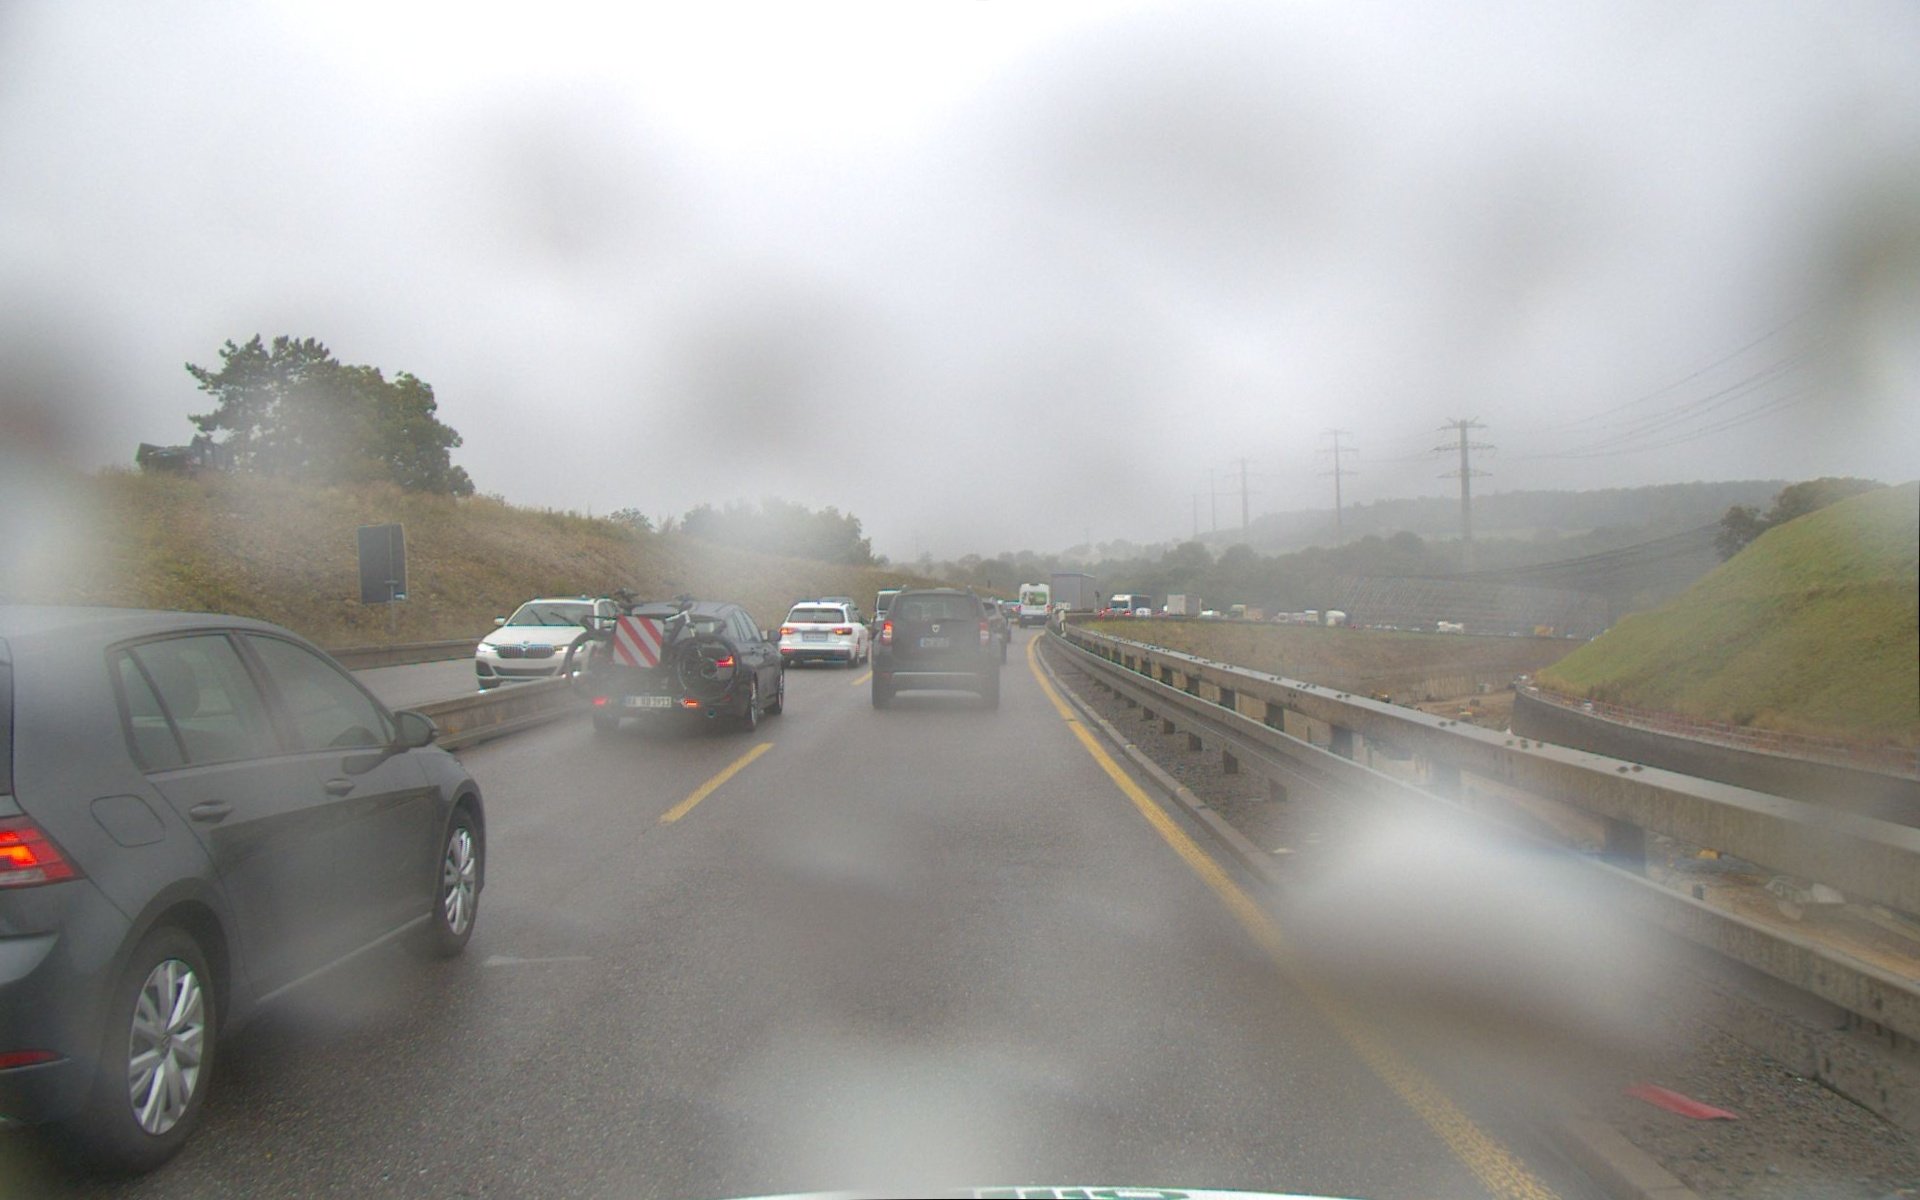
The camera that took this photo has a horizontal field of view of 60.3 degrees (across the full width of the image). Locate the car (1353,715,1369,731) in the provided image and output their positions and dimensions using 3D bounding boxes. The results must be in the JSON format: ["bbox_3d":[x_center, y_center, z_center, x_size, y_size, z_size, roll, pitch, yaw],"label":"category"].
[{"bbox_3d":[58.794,18.005,242.268,1.952,2.049,4.002,1,0,18],"label":"car"}]

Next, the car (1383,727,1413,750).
[{"bbox_3d":[45.251,14.308,170.917,2.315,2.049,4.002,2,0,5],"label":"car"}]

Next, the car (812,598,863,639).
[{"bbox_3d":[-5.146,0.755,70.128,1.774,1.621,4.901,-1,0,0],"label":"car"}]

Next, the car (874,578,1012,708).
[{"bbox_3d":[-0.159,0.575,23.450,1.767,1.675,3.777,0,0,2],"label":"car"}]

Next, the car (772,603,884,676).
[{"bbox_3d":[-2.906,0.848,37.411,1.828,1.486,4.550,2,0,4],"label":"car"}]

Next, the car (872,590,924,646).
[{"bbox_3d":[-2.199,0.624,59.407,1.626,1.913,4.020,2,0,1],"label":"car"}]

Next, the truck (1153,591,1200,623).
[{"bbox_3d":[30.627,0.963,232.919,4.617,4.222,15.694,1,0,14],"label":"truck"}]

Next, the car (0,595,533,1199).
[{"bbox_3d":[-2.773,0.776,5.474,1.581,1.532,4.368,-1,0,0],"label":"car"}]

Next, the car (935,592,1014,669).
[{"bbox_3d":[0.400,0.718,40.664,1.829,1.738,4.001,1,0,2],"label":"car"}]

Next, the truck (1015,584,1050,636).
[{"bbox_3d":[4.723,0.646,107.433,2.104,3.221,6.461,1,0,3],"label":"truck"}]

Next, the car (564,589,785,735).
[{"bbox_3d":[-3.172,0.655,19.116,1.791,1.502,3.777,0,0,1],"label":"car"}]

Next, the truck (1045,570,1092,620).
[{"bbox_3d":[8.904,-0.357,134.870,3.132,3.827,8.516,1,0,8],"label":"truck"}]

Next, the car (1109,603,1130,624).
[{"bbox_3d":[15.256,1.249,157.745,1.737,1.949,4.003,1,0,8],"label":"car"}]

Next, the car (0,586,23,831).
[{"bbox_3d":[-7.074,0.698,9.227,1.692,1.605,3.719,0,0,-3],"label":"car"}]

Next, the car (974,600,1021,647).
[{"bbox_3d":[1.366,0.852,61.689,1.499,1.669,4.011,2,0,-2],"label":"car"}]

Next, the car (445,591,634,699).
[{"bbox_3d":[-7.054,0.719,28.304,2.004,1.661,4.988,0,0,-1],"label":"car"}]

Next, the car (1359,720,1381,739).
[{"bbox_3d":[46.739,14.795,188.658,1.951,1.847,4.003,1,-1,7],"label":"car"}]
